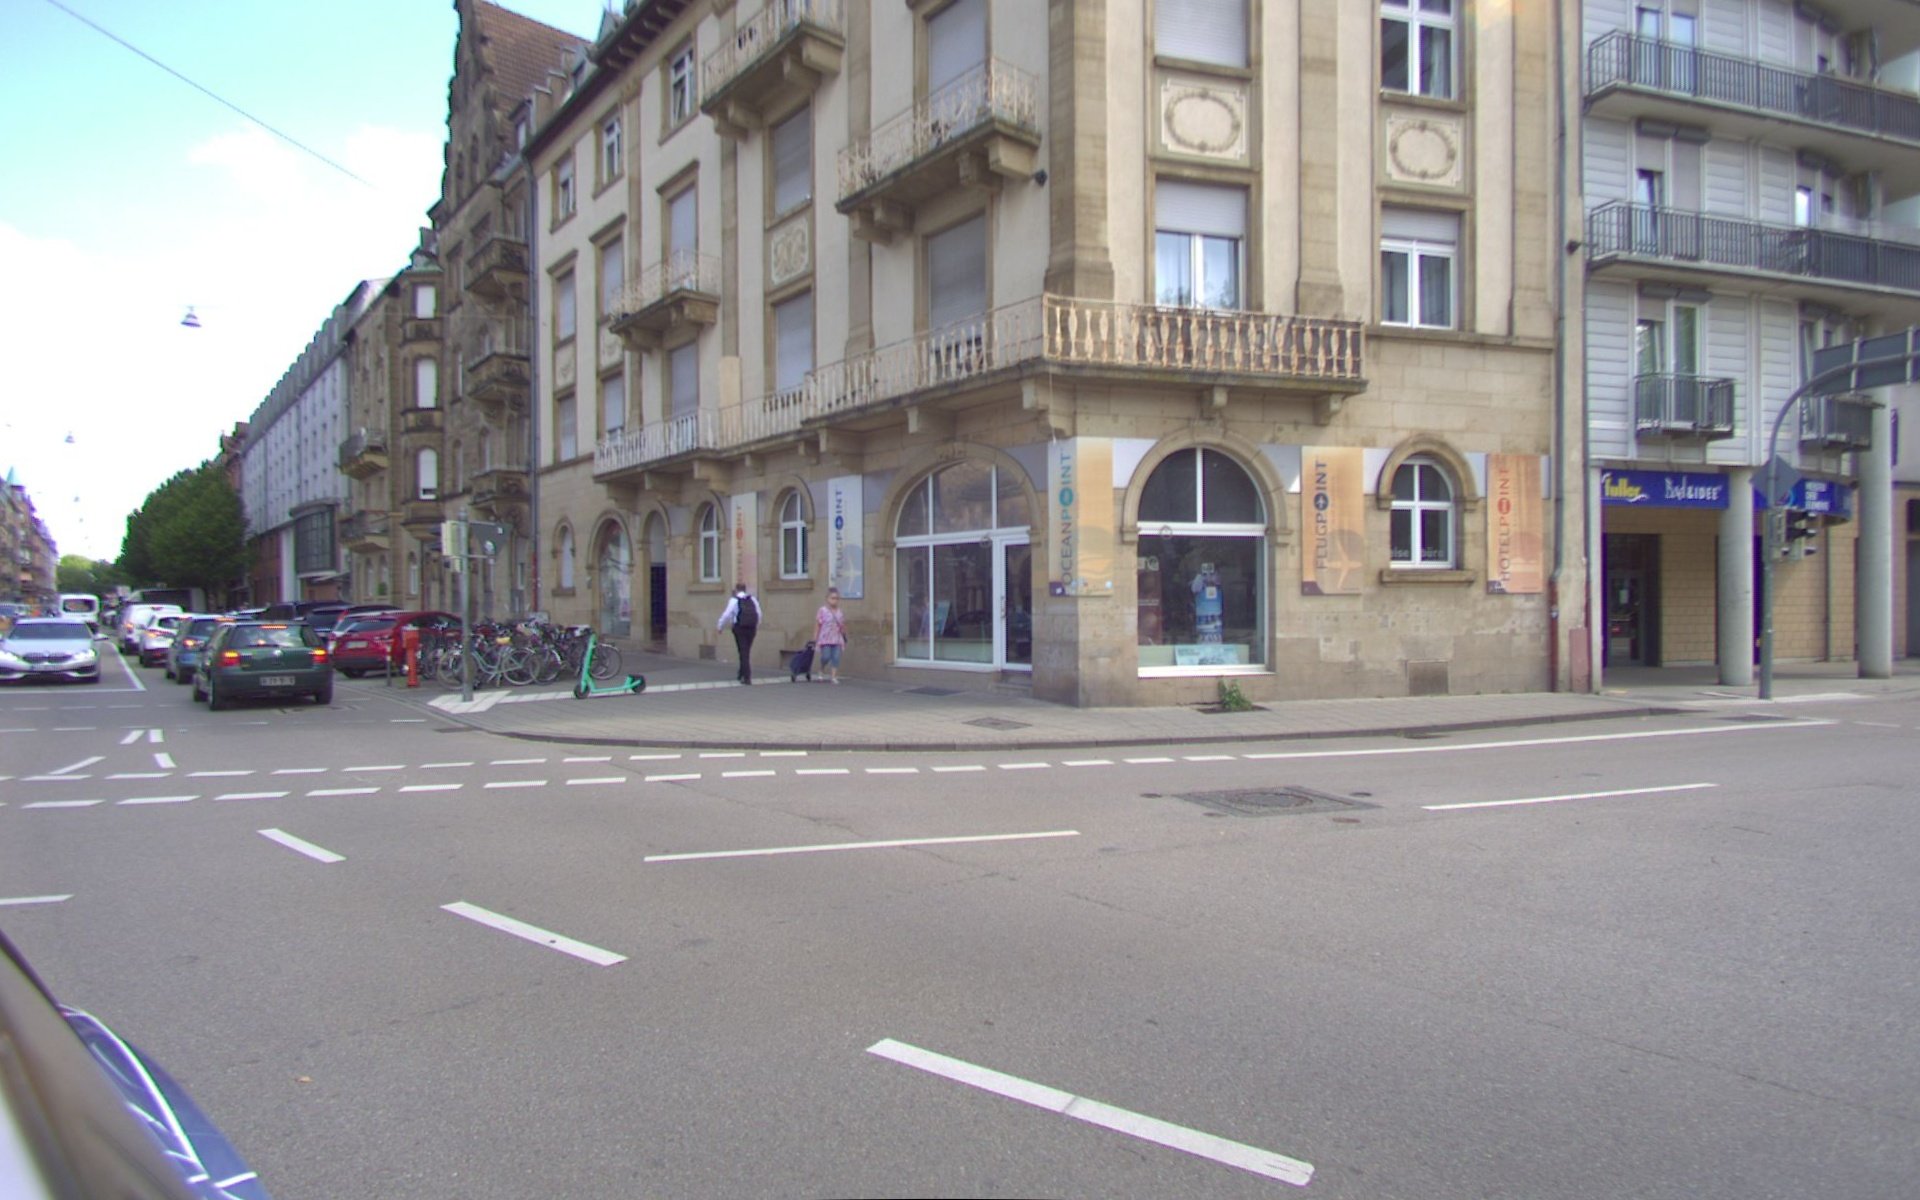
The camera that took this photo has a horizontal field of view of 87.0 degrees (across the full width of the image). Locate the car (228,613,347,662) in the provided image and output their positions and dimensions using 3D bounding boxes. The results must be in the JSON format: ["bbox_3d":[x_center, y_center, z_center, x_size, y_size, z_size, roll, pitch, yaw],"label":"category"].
[{"bbox_3d":[-27.101,1.464,40.952,1.712,1.597,3.943,-3,2,10],"label":"car"}]

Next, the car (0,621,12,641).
[{"bbox_3d":[-69.771,2.228,73.007,1.782,1.378,4.193,0,-1,-39],"label":"car"}]

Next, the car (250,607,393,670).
[{"bbox_3d":[-21.501,1.247,34.241,1.715,1.882,3.935,-2,1,15],"label":"car"}]

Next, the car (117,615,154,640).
[{"bbox_3d":[-55.369,1.837,67.965,1.863,1.664,3.897,0,-1,-39],"label":"car"}]

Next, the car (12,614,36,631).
[{"bbox_3d":[-107.044,2.590,115.731,1.782,1.927,4.193,0,-1,-39],"label":"car"}]

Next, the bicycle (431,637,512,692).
[{"bbox_3d":[-10.514,1.363,21.812,1.462,1.060,0.463,-3,0,-44],"label":"bicycle"}]

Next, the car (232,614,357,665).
[{"bbox_3d":[-25.361,1.466,38.717,1.712,1.597,3.943,-2,2,10],"label":"car"}]

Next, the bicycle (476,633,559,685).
[{"bbox_3d":[-10.070,1.327,23.036,1.607,1.060,0.558,-2,0,-42],"label":"bicycle"}]

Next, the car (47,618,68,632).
[{"bbox_3d":[-111.256,3.014,124.746,1.782,1.676,4.193,0,-1,-39],"label":"car"}]

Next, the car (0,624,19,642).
[{"bbox_3d":[-73.217,2.501,77.204,1.782,1.378,4.193,0,-1,-39],"label":"car"}]

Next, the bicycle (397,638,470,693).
[{"bbox_3d":[-11.497,1.407,22.165,0.550,1.060,1.810,-2,0,4],"label":"bicycle"}]

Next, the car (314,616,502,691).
[{"bbox_3d":[-13.110,1.219,24.335,1.793,1.468,3.986,-2,1,11],"label":"car"}]

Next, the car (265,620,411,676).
[{"bbox_3d":[-19.700,1.485,32.266,1.713,1.440,3.941,-3,0,11],"label":"car"}]

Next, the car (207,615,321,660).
[{"bbox_3d":[-29.592,1.564,43.174,1.712,1.597,3.943,-3,1,10],"label":"car"}]

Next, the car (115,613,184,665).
[{"bbox_3d":[-29.941,1.428,37.347,1.790,1.789,4.289,2,-3,-41],"label":"car"}]

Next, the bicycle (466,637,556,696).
[{"bbox_3d":[-8.934,1.303,20.147,1.556,1.060,0.482,-2,0,-33],"label":"bicycle"}]

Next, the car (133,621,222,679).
[{"bbox_3d":[-23.377,1.429,30.169,1.749,1.594,4.025,2,-2,-42],"label":"car"}]

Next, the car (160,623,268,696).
[{"bbox_3d":[-17.706,1.337,23.952,1.726,1.552,3.937,1,-1,-41],"label":"car"}]

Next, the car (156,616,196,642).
[{"bbox_3d":[-49.075,1.816,63.286,1.863,1.577,3.897,0,-1,-39],"label":"car"}]

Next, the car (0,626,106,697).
[{"bbox_3d":[-20.912,1.352,23.295,1.799,1.459,4.394,3,-3,-39],"label":"car"}]

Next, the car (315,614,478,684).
[{"bbox_3d":[-14.937,1.250,27.084,1.711,1.468,3.945,-3,1,8],"label":"car"}]

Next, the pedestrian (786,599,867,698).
[{"bbox_3d":[-2.340,0.824,17.718,0.929,1.606,0.998,-4,2,-40],"label":"pedestrian"}]

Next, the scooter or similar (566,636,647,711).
[{"bbox_3d":[-5.930,1.213,16.981,1.231,1.154,0.482,-2,1,-23],"label":"scooter or similar"}]

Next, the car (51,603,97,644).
[{"bbox_3d":[-56.586,1.547,64.630,2.051,2.464,5.953,3,-4,-41],"label":"car"}]

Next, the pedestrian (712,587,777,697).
[{"bbox_3d":[-3.834,0.712,18.018,0.792,1.874,0.907,-1,2,-41],"label":"pedestrian"}]

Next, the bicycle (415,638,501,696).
[{"bbox_3d":[-10.236,1.349,20.658,1.461,1.060,0.463,-2,0,-40],"label":"bicycle"}]

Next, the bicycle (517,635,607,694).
[{"bbox_3d":[-7.955,1.276,20.255,1.587,1.060,0.482,-2,0,-33],"label":"bicycle"}]

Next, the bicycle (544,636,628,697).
[{"bbox_3d":[-7.177,1.254,19.438,1.419,1.060,0.482,-2,0,-31],"label":"bicycle"}]

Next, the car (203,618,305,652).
[{"bbox_3d":[-33.305,1.625,47.880,1.712,1.485,3.942,-1,-1,10],"label":"car"}]

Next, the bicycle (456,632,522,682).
[{"bbox_3d":[-11.363,1.357,24.456,0.551,1.060,1.902,-2,0,5],"label":"bicycle"}]

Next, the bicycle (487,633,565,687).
[{"bbox_3d":[-9.427,1.280,22.027,1.462,1.060,0.463,-2,0,-44],"label":"bicycle"}]

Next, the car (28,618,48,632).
[{"bbox_3d":[-122.418,3.293,134.359,1.782,1.779,4.193,0,-1,-39],"label":"car"}]

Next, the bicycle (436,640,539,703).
[{"bbox_3d":[-8.943,1.332,19.199,1.706,1.060,0.533,-2,0,-24],"label":"bicycle"}]

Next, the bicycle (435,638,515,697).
[{"bbox_3d":[-9.776,1.337,20.434,1.352,1.060,0.418,-3,1,-42],"label":"bicycle"}]

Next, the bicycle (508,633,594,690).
[{"bbox_3d":[-8.513,1.263,21.097,1.556,1.060,0.482,-2,0,-33],"label":"bicycle"}]

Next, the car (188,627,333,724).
[{"bbox_3d":[-12.249,1.218,17.624,1.692,1.444,3.824,1,-1,-40],"label":"car"}]

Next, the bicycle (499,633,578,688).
[{"bbox_3d":[-9.016,1.274,21.665,1.461,1.060,0.463,-2,0,-40],"label":"bicycle"}]

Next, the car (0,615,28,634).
[{"bbox_3d":[-87.876,2.260,93.882,1.782,1.779,4.193,0,-1,-39],"label":"car"}]

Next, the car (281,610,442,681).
[{"bbox_3d":[-16.983,1.235,28.979,1.783,1.702,3.942,-3,1,10],"label":"car"}]
